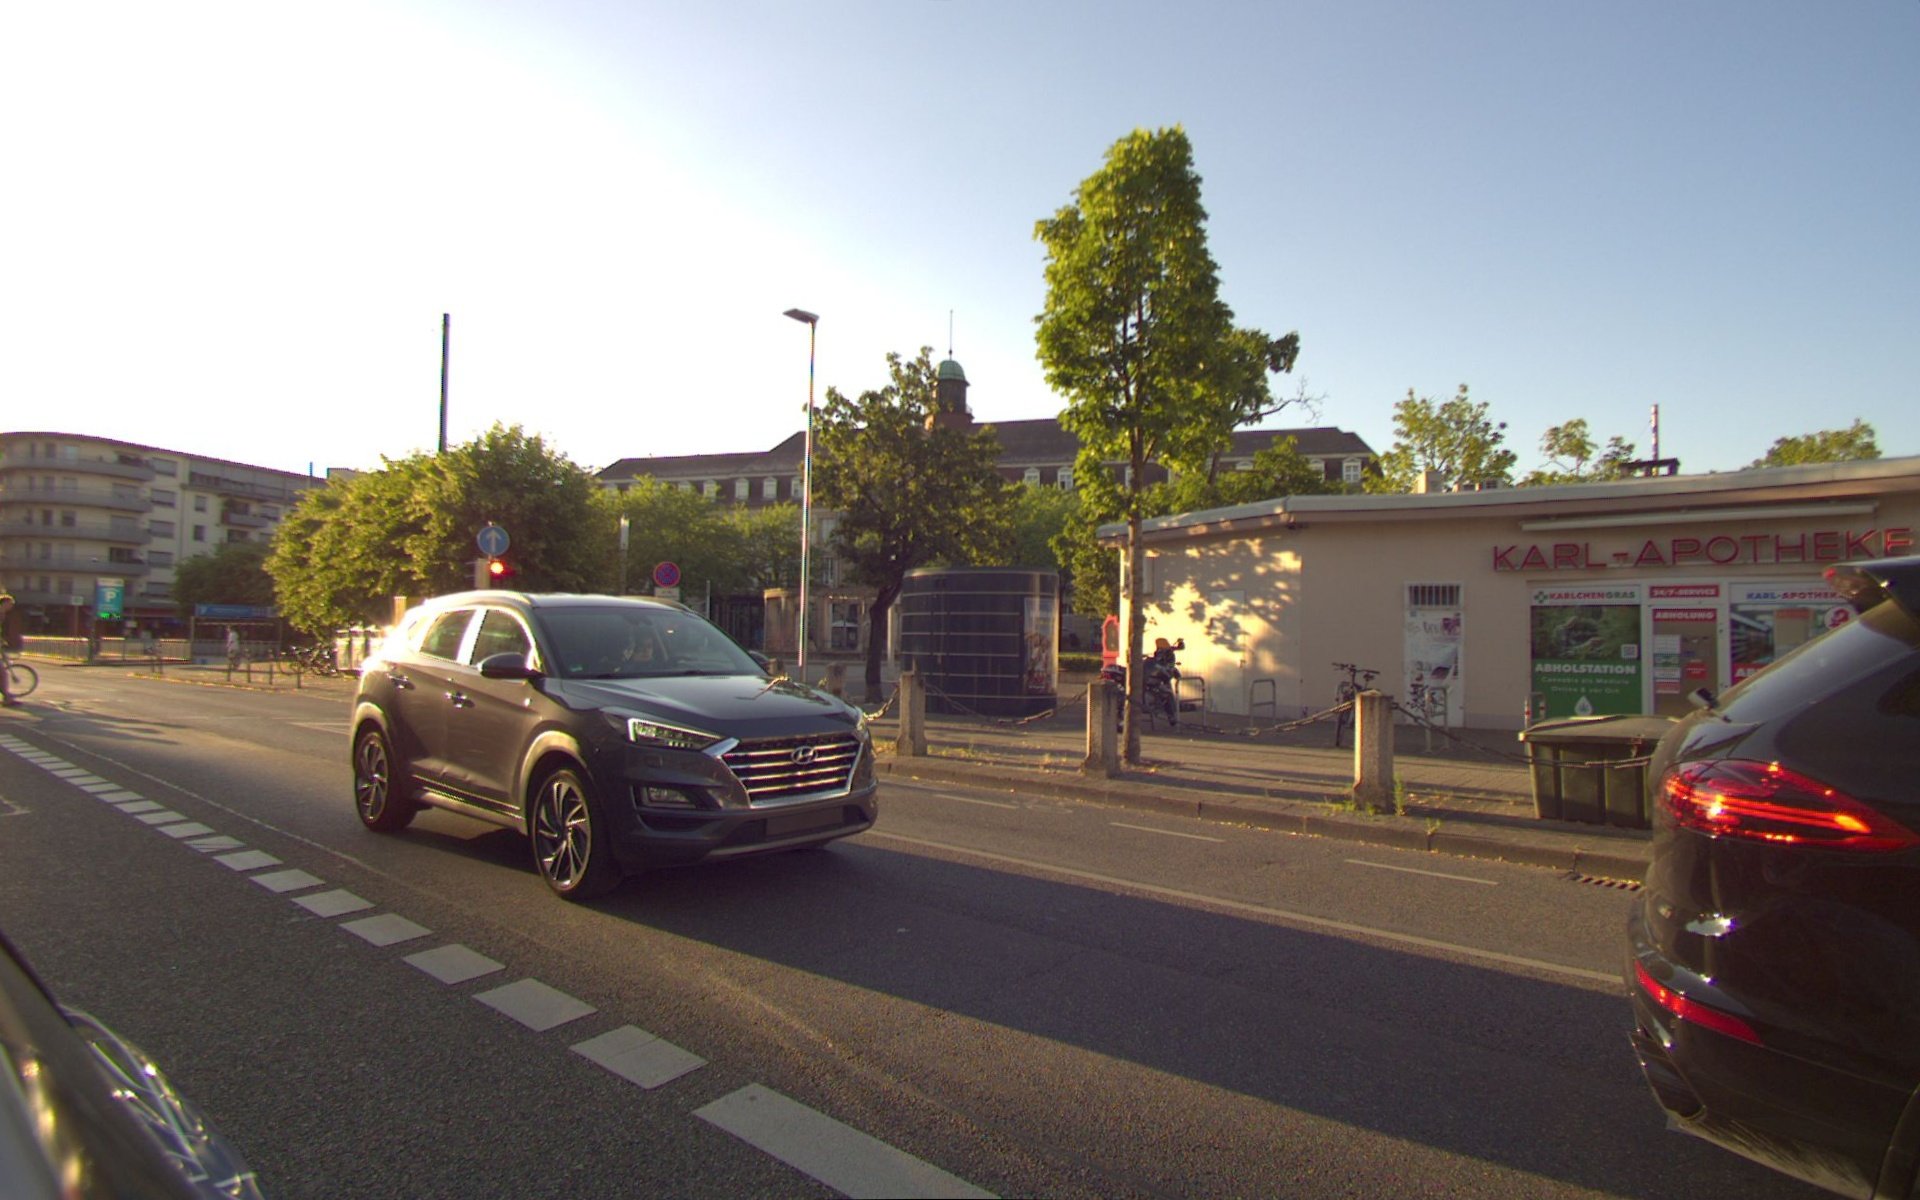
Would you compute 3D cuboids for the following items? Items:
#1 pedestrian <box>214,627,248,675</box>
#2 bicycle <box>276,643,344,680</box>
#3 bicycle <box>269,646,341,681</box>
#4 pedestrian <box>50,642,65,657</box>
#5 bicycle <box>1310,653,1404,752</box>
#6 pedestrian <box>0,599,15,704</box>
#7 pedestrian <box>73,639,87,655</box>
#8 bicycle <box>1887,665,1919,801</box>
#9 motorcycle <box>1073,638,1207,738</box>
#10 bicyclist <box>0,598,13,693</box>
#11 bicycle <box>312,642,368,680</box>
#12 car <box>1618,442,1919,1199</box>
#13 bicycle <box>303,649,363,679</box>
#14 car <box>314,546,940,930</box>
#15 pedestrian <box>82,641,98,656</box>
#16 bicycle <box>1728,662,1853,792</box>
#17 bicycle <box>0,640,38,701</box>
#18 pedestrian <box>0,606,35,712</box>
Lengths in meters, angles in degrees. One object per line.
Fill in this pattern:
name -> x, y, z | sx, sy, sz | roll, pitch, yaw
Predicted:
pedestrian -> -28.289, 1.981, 39.305 | 0.936, 1.831, 0.828 | 2, -3, -32
bicycle -> -23.335, 2.190, 36.360 | 0.548, 1.262, 2.007 | -2, -2, 36
bicycle -> -22.440, 2.156, 34.700 | 0.548, 1.143, 2.007 | -2, -2, 36
pedestrian -> -74.836, 4.108, 83.958 | 0.875, 1.201, 0.734 | 2, -4, -40
bicycle -> 5.521, 1.385, 14.024 | 0.632, 1.266, 1.834 | -2, -4, 41
pedestrian -> -18.023, 0.929, 18.533 | 0.926, 1.912, 0.827 | 3, -4, -41
pedestrian -> -74.942, 4.013, 86.158 | 0.888, 1.332, 0.723 | -2, -3, 39
bicycle -> 9.941, 1.296, 10.207 | 0.787, 1.266, 2.418 | -2, -4, 41
motorcycle -> 2.864, 1.342, 15.853 | 0.868, 1.440, 2.554 | -2, -4, 41
bicyclist -> -19.195, 0.886, 19.853 | 0.823, 1.840, 0.832 | 3, -4, -42
bicycle -> -21.141, 2.071, 34.539 | 0.444, 1.262, 1.571 | -2, -2, 38
car -> 3.717, 0.582, 1.355 | 4.557, 1.727, 1.929 | -2, -4, 39
bicycle -> -21.523, 2.184, 34.747 | 0.548, 0.986, 1.658 | -2, -2, 36
car -> -2.407, 0.722, 6.679 | 4.446, 1.702, 1.853 | -2, -5, 41
pedestrian -> -74.785, 4.153, 87.019 | 0.814, 1.332, 0.684 | -1, -3, 16
bicycle -> 9.090, 1.317, 11.054 | 0.949, 1.266, 1.984 | -2, -4, 41
bicycle -> -19.284, 1.369, 19.763 | 1.797, 1.195, 0.794 | 3, -4, -41
pedestrian -> -16.564, 1.002, 17.262 | 1.084, 1.788, 0.827 | 3, -4, -43
